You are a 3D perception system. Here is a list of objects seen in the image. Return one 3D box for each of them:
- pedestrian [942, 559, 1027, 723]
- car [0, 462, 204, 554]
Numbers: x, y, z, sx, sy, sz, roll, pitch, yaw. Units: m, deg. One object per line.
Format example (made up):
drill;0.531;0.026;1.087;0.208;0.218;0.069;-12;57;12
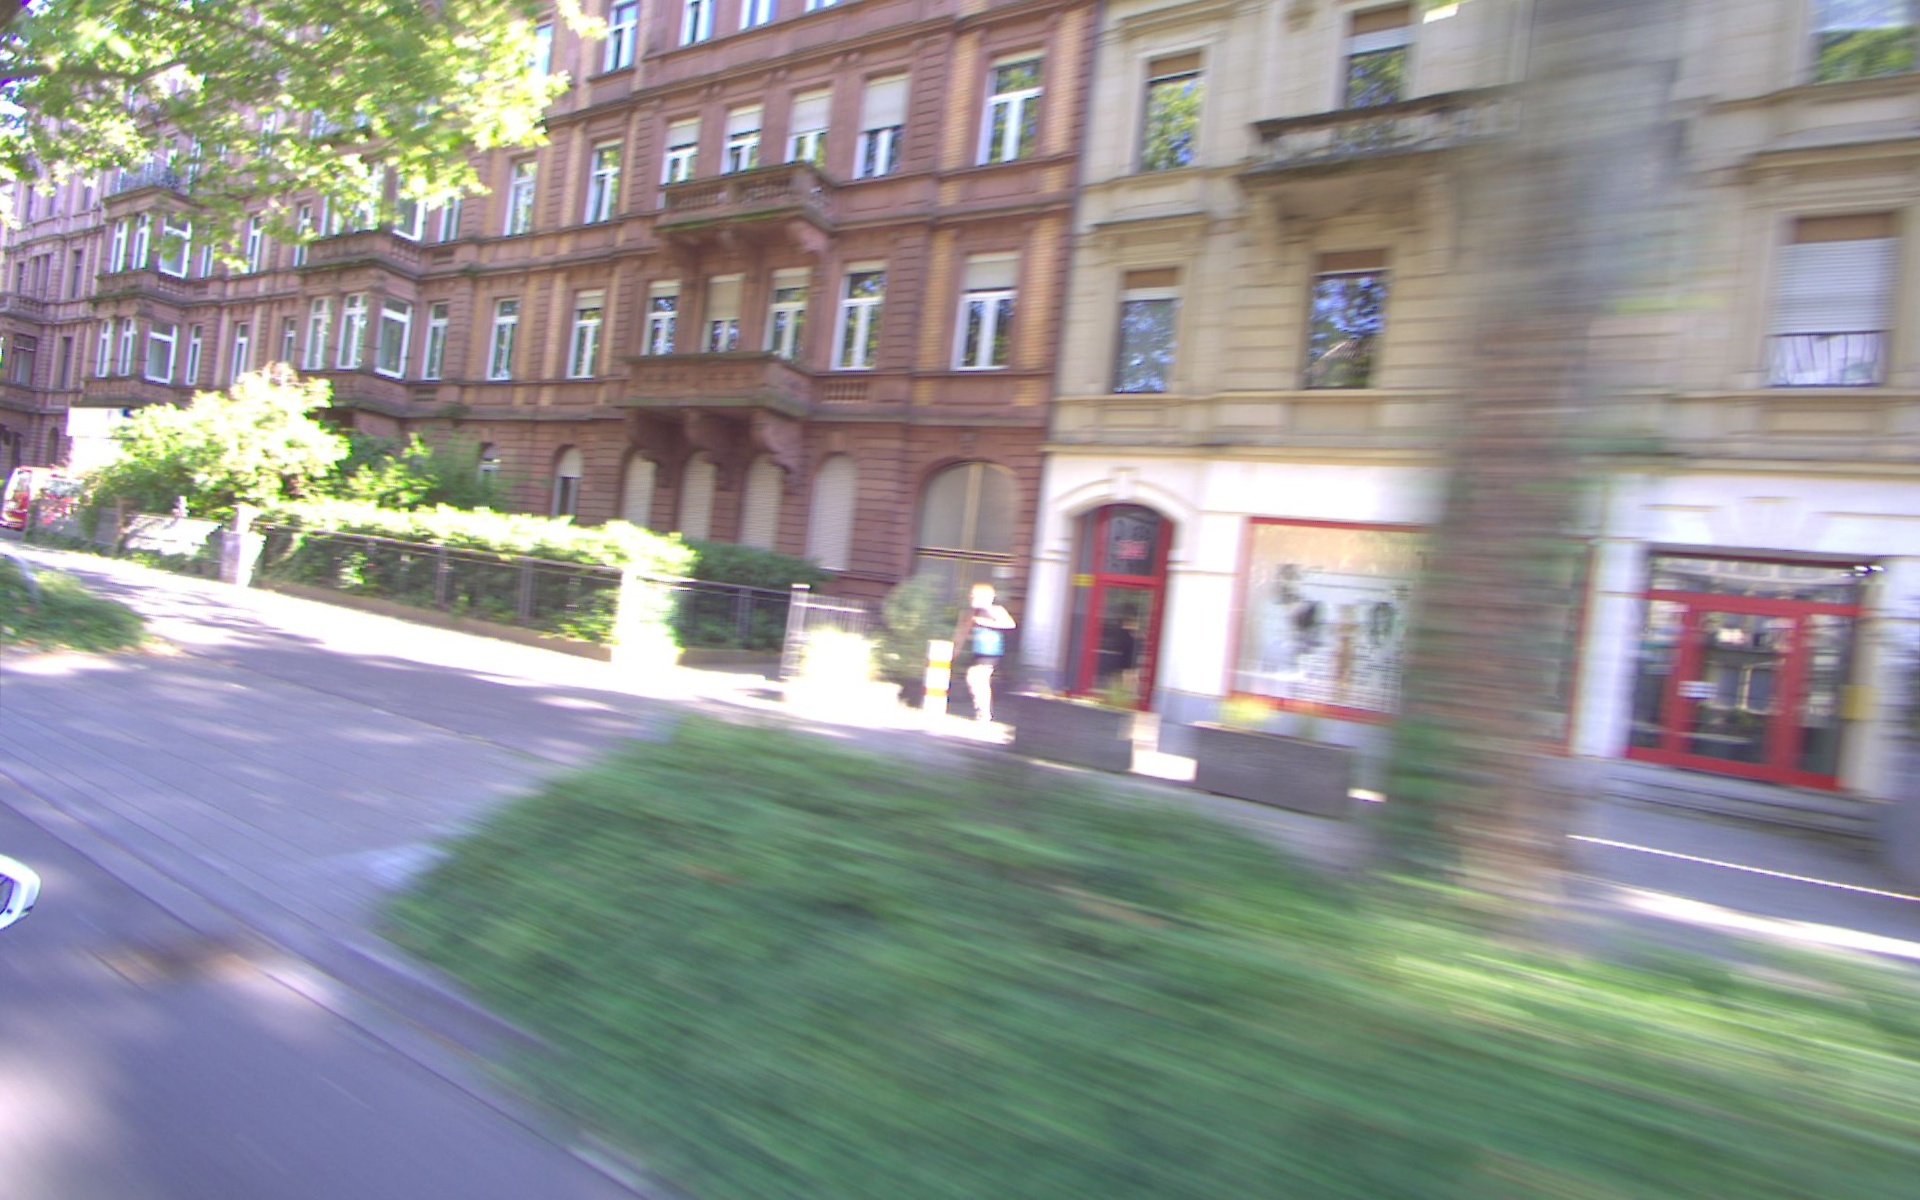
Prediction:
pedestrian;0.327;0.537;13.102;0.623;2.038;0.673;7;1;31
car;-24.622;-2.576;28.859;1.966;2.040;4.179;7;1;30
